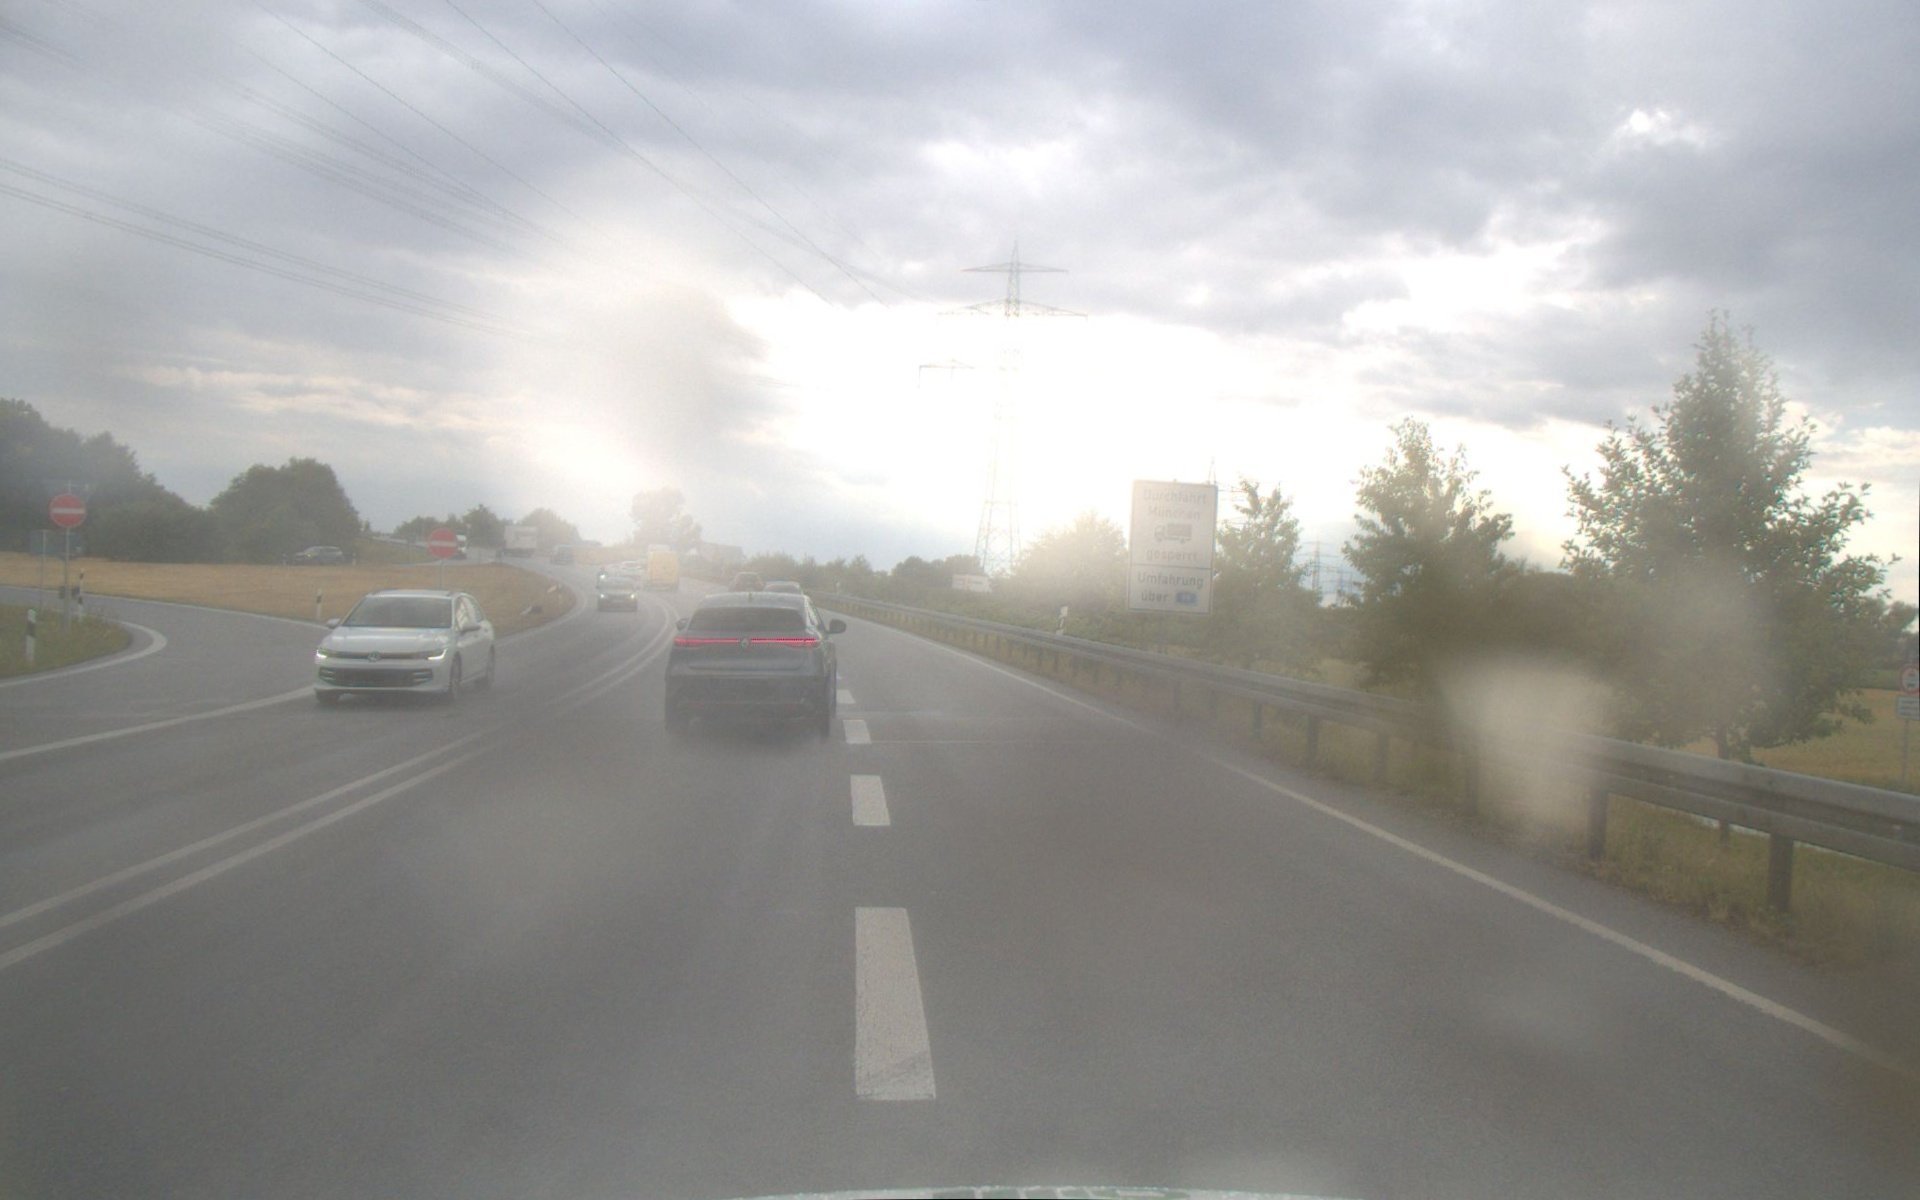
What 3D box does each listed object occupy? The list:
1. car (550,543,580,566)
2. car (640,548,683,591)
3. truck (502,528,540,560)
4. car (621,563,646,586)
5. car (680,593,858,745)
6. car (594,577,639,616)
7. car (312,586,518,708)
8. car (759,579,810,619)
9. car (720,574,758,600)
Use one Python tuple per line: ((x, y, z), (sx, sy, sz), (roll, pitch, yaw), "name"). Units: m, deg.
((-41.489, -4.759, 173.618), (2.563, 2.290, 5.505), (2, 0, -19), "car")
((-20.126, -2.000, 111.332), (2.528, 2.773, 7.174), (1, 0, -12), "car")
((-52.312, -6.645, 196.915), (3.007, 3.444, 7.585), (2, 0, -25), "truck")
((-26.487, -2.055, 134.272), (1.761, 1.717, 3.985), (2, 0, -14), "car")
((-2.105, 0.696, 18.707), (1.756, 1.466, 3.996), (1, 1, -5), "car")
((-15.287, -0.171, 73.692), (1.766, 1.621, 4.216), (1, 1, -9), "car")
((-7.497, 0.630, 23.207), (1.672, 1.506, 4.605), (1, -1, -5), "car")
((-6.665, -0.019, 62.634), (1.758, 1.466, 3.992), (0, 0, -8), "car")
((-13.426, -0.770, 100.376), (1.762, 1.568, 3.984), (-1, 0, -15), "car")
